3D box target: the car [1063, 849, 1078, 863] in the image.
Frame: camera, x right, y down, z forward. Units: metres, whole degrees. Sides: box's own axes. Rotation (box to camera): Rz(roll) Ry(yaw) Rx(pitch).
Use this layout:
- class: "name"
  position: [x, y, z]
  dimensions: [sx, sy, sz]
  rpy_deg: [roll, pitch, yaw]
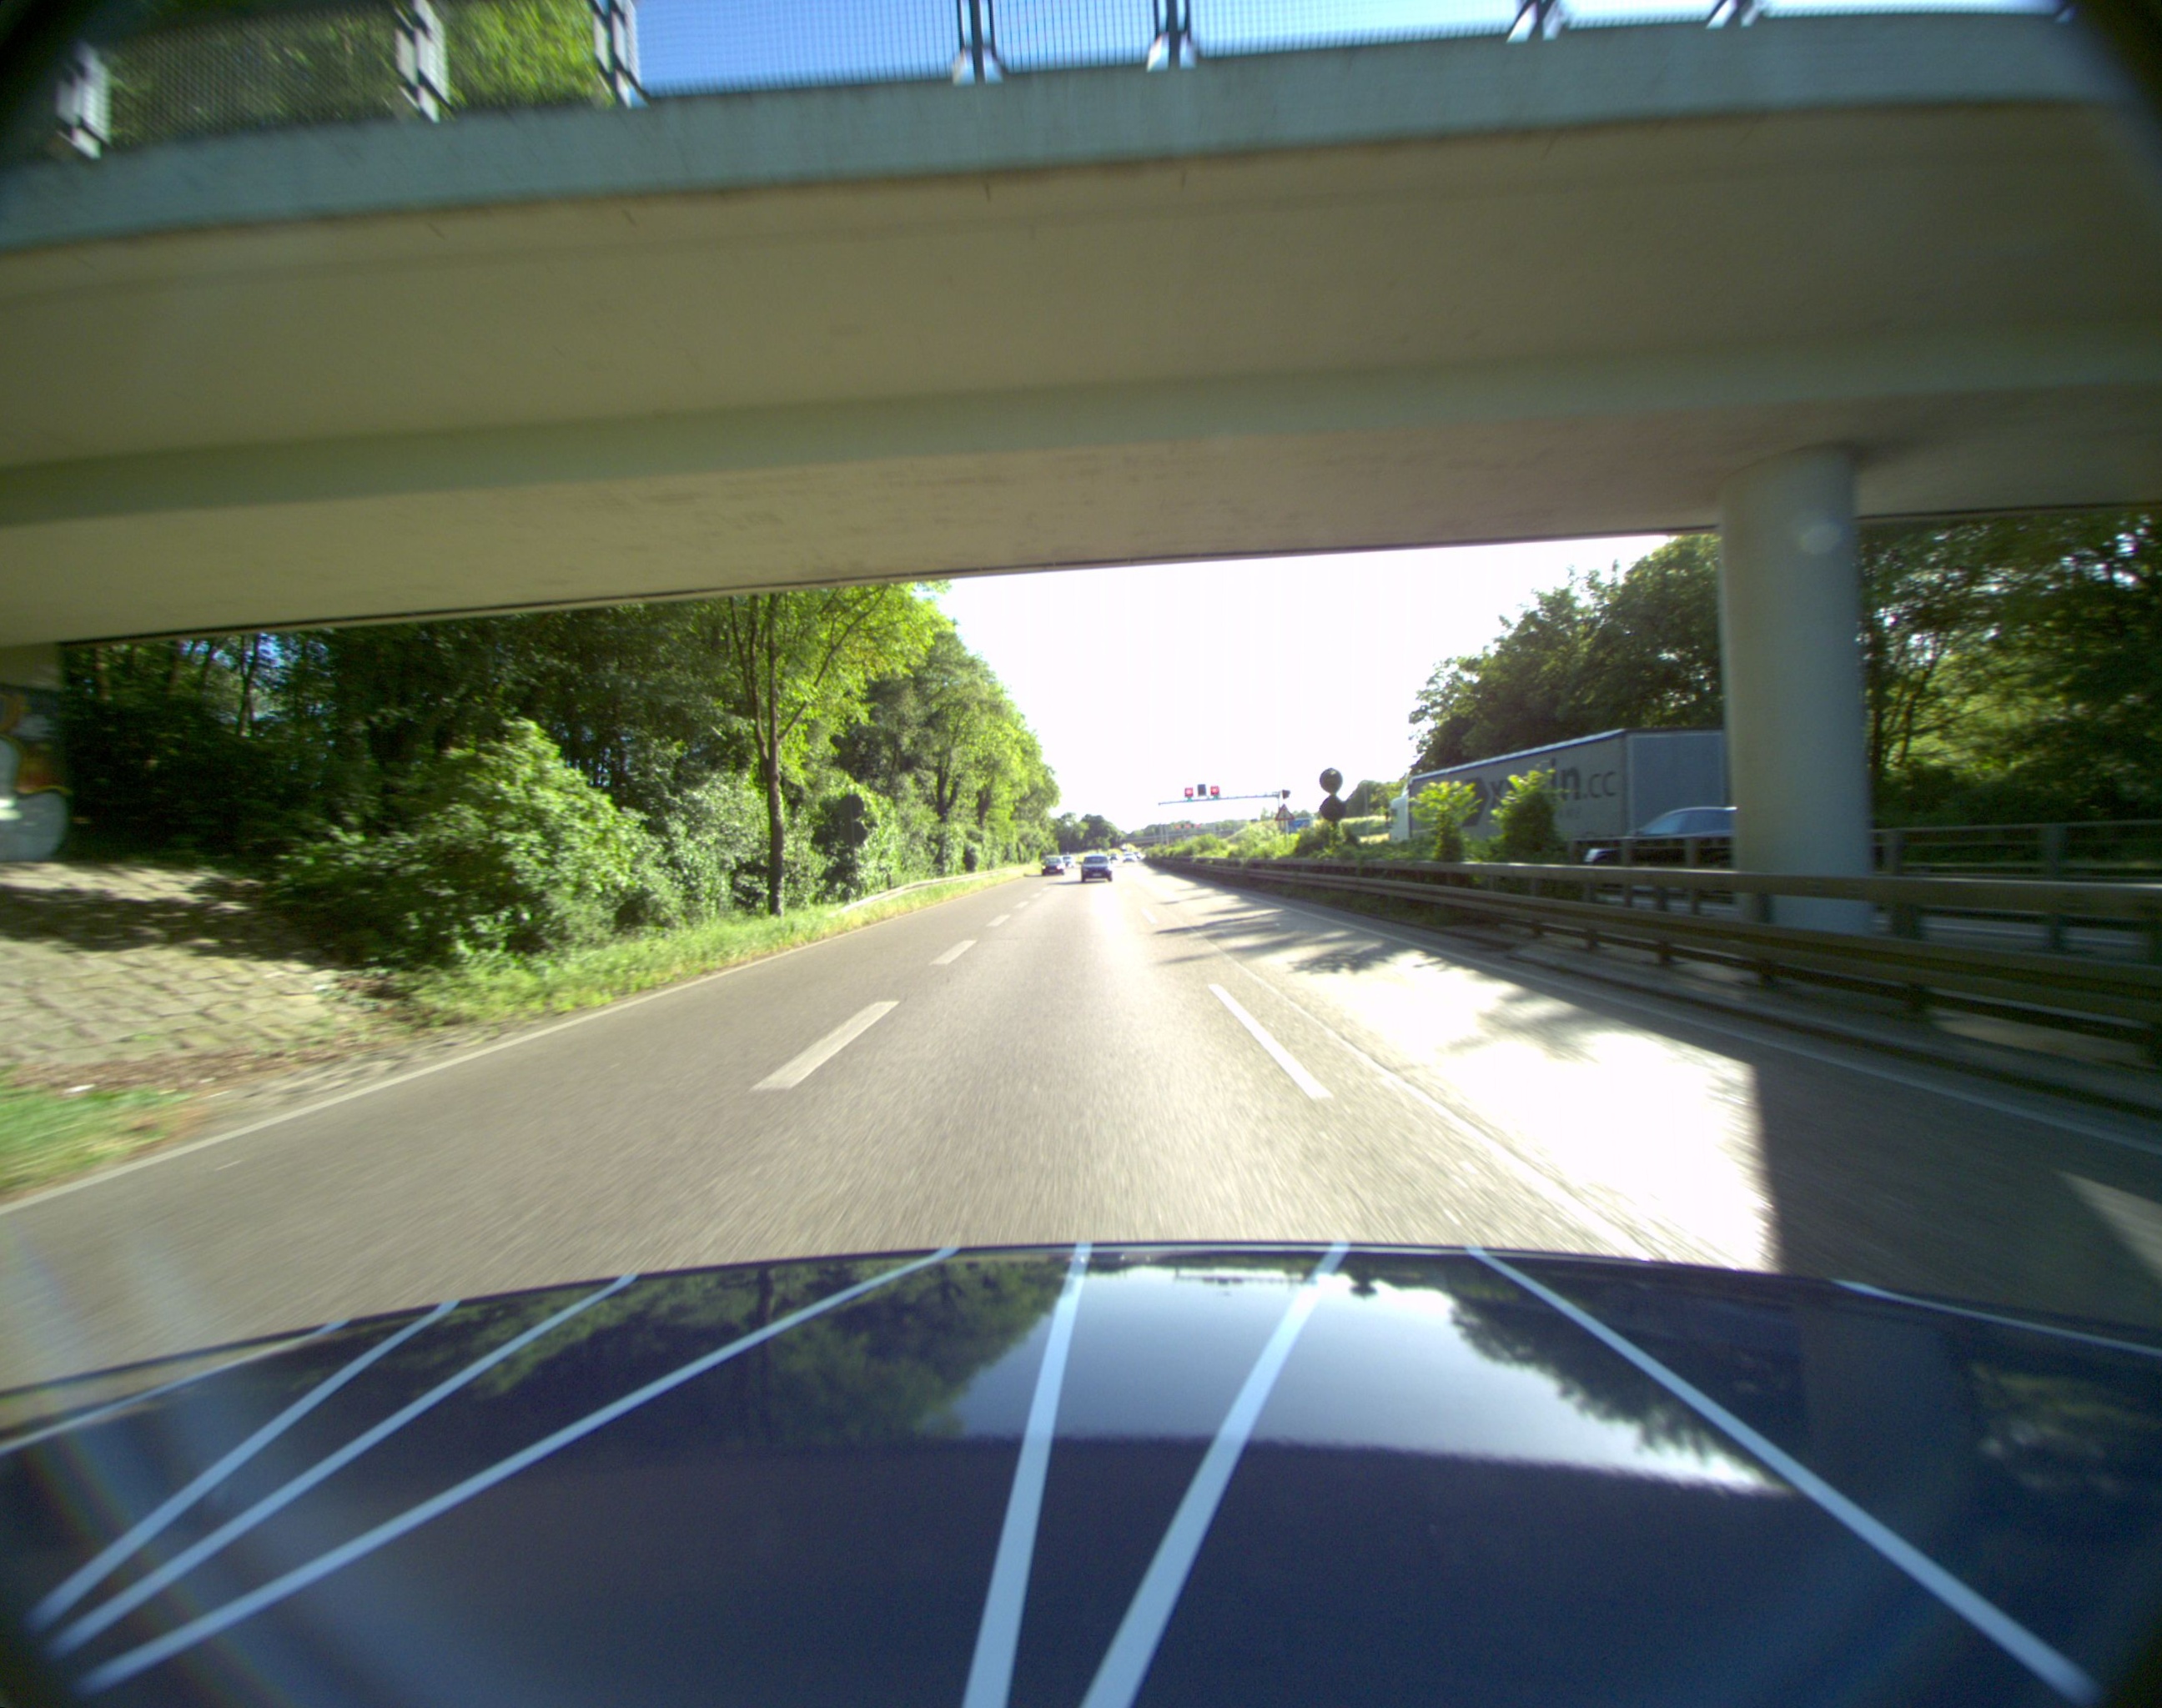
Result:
- class: "car"
  position: [-1.250, 0.249, 92.770]
  dimensions: [1.712, 1.565, 3.422]
  rpy_deg: [-2, 1, 0]

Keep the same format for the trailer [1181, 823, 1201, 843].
- class: "trailer"
  position: [23.307, -4.427, 161.143]
  dimensions: [3.029, 3.965, 14.028]
  rpy_deg: [-2, 1, 4]

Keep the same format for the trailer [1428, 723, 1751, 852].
- class: "trailer"
  position: [15.624, -1.772, 25.252]
  dimensions: [2.937, 3.150, 11.915]
  rpy_deg: [-2, 1, 1]

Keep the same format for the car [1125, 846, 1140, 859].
- class: "car"
  position: [7.547, -0.281, 112.213]
  dimensions: [1.998, 1.793, 4.000]
  rpy_deg: [-2, 1, 1]

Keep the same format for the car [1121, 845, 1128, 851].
- class: "car"
  position: [14.873, -1.987, 259.980]
  dimensions: [1.997, 1.740, 4.375]
  rpy_deg: [-2, 1, 10]

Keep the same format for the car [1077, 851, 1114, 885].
- class: "car"
  position: [0.812, 0.740, 41.069]
  dimensions: [1.712, 1.565, 3.423]
  rpy_deg: [-5, 1, 4]

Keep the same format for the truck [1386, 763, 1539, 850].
- class: "truck"
  position: [15.780, -1.840, 32.140]
  dimensions: [2.937, 3.150, 7.082]
  rpy_deg: [-2, 1, 1]

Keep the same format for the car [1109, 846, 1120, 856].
- class: "car"
  position: [6.345, -0.593, 142.665]
  dimensions: [1.998, 1.740, 4.373]
  rpy_deg: [-2, 1, 4]

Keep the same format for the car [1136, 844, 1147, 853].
- class: "car"
  position: [11.895, -1.066, 148.664]
  dimensions: [1.998, 1.740, 4.374]
  rpy_deg: [-2, 1, 5]

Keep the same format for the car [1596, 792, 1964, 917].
- class: "car"
  position: [11.517, -0.003, 13.142]
  dimensions: [1.998, 1.677, 4.740]
  rpy_deg: [-3, 0, 1]

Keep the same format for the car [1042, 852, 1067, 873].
- class: "car"
  position: [-2.113, 0.669, 60.812]
  dimensions: [1.712, 1.565, 3.422]
  rpy_deg: [-2, 1, 1]
